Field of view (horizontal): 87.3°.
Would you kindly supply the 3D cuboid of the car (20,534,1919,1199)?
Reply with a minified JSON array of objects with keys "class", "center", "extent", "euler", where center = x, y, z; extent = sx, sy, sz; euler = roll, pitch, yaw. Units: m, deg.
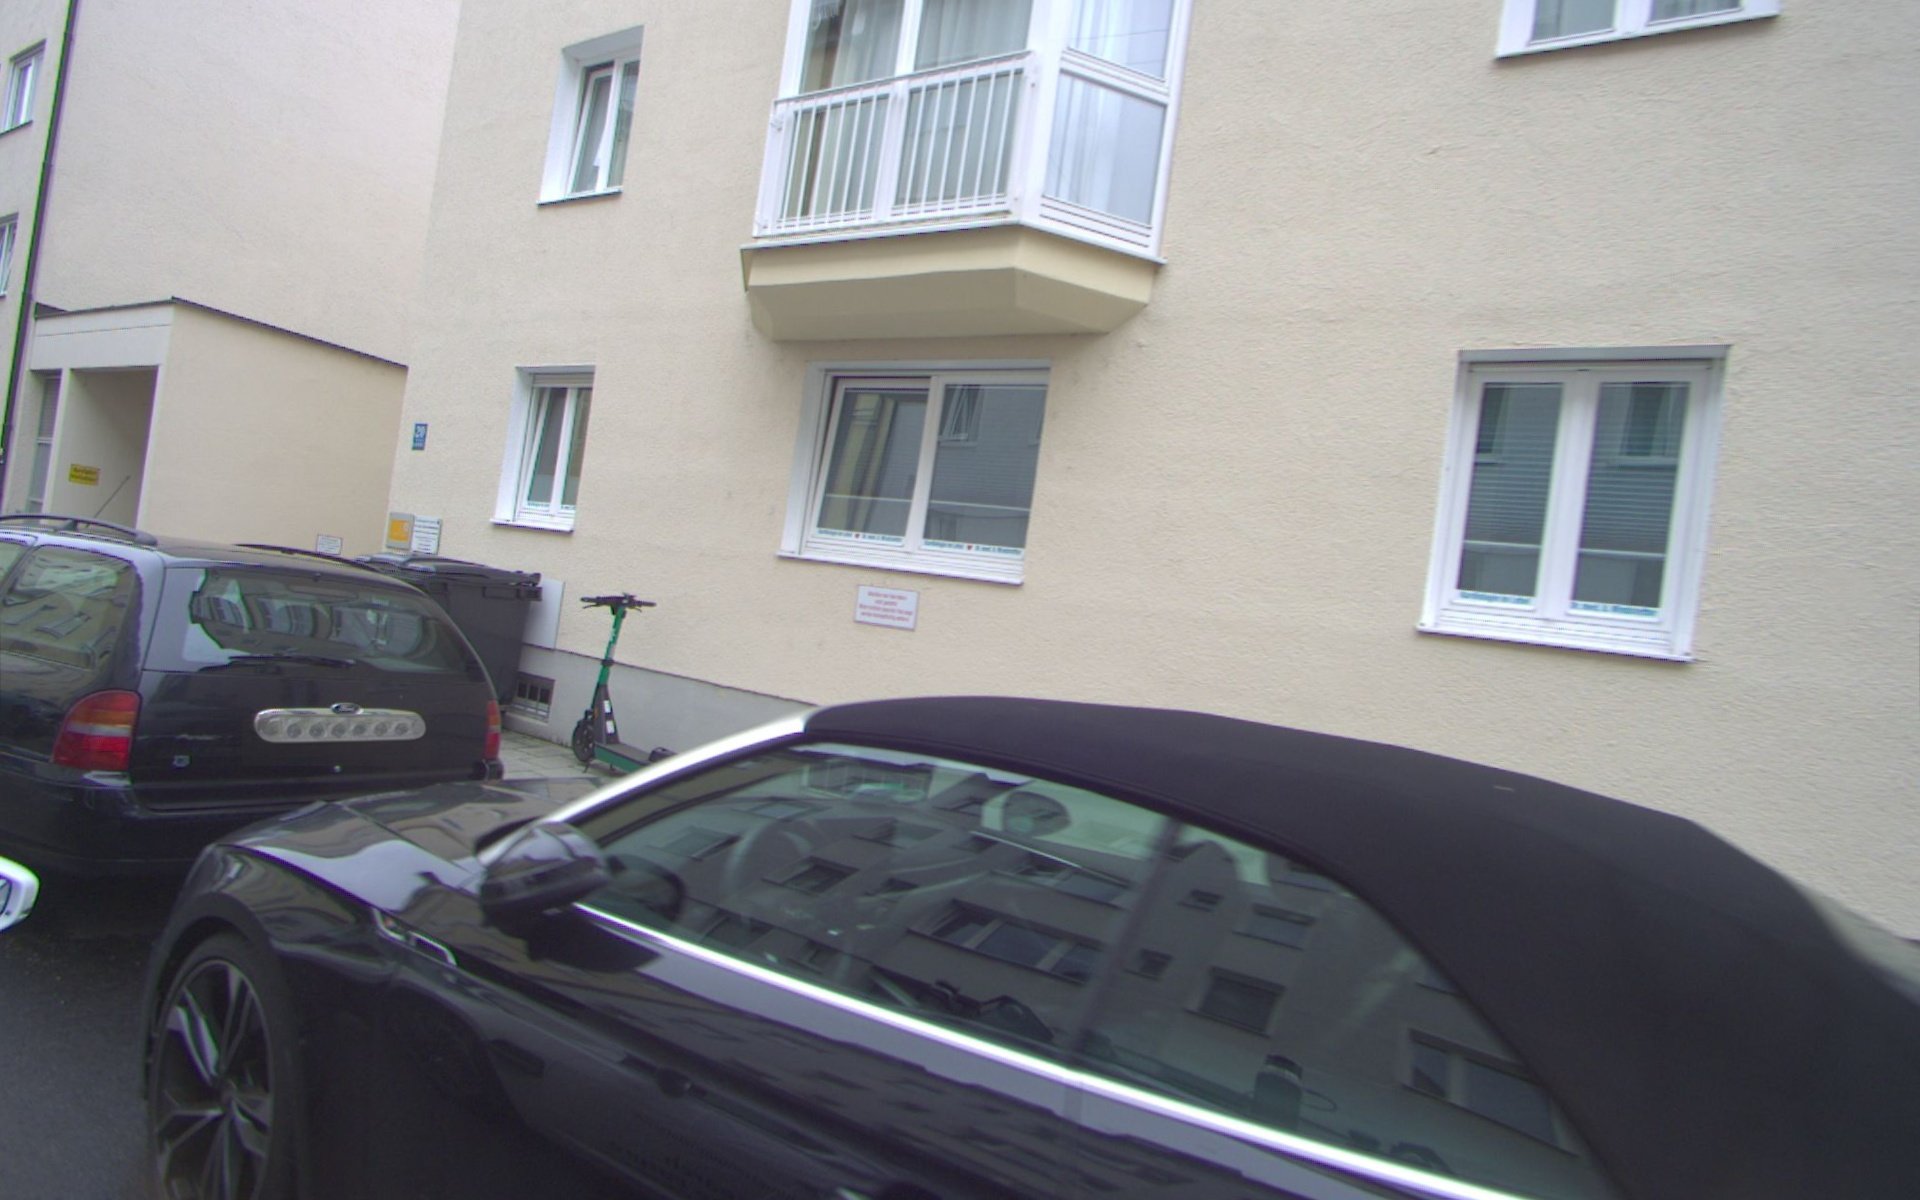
[{"class":"car","center":[0.222,0.878,2.010],"extent":[4.337,1.421,1.838],"euler":[7,-3,31]}]

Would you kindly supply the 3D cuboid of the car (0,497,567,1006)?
[{"class":"car","center":[-4.208,0.345,4.855],"extent":[4.454,1.487,1.722],"euler":[7,-3,29]}]

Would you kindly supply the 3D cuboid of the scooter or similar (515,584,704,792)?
[{"class":"scooter or similar","center":[-2.502,0.596,7.168],"extent":[1.117,1.282,0.576],"euler":[7,0,32]}]

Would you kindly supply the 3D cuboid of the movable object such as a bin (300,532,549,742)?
[{"class":"movable object such as a bin","center":[-4.347,0.280,8.169],"extent":[1.560,1.440,1.033],"euler":[7,0,32]}]
